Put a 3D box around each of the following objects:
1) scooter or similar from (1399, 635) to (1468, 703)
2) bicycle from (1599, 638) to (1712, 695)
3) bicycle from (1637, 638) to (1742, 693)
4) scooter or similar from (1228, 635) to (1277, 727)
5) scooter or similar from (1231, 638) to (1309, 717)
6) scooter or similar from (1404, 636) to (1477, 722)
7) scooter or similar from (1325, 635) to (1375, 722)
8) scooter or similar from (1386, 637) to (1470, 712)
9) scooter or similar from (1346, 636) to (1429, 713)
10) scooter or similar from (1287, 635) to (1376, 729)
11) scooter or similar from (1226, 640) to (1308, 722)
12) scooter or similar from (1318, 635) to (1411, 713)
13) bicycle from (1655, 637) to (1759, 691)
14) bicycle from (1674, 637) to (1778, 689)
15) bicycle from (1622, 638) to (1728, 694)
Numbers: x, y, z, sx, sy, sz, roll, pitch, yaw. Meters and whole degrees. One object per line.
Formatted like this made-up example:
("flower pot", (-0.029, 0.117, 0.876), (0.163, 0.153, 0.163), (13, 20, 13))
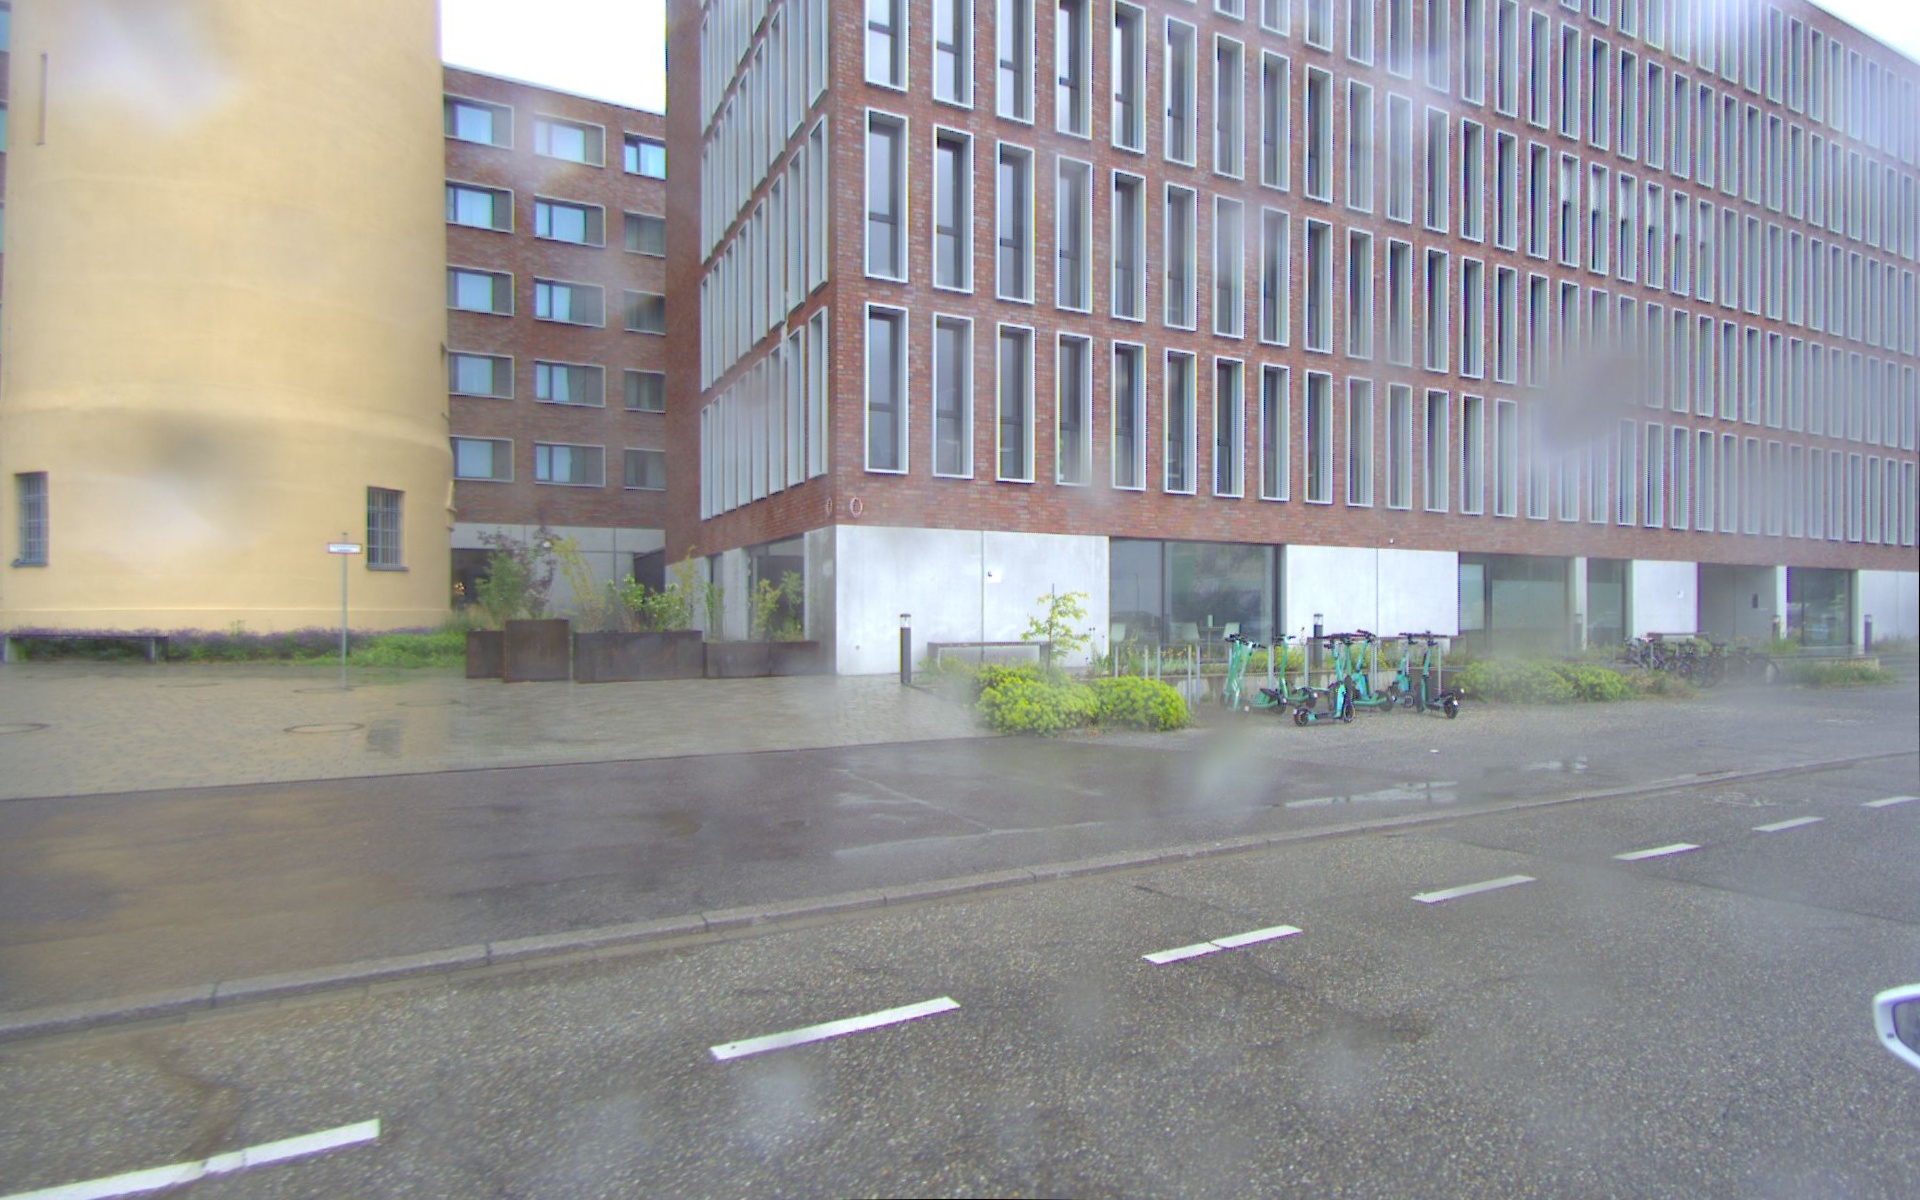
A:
("scooter or similar", (8.889, 1.280, 18.892), (0.411, 1.224, 1.224), (0, -2, -22))
("bicycle", (15.108, 1.426, 21.872), (0.613, 1.092, 1.939), (1, 0, -30))
("bicycle", (16.413, 1.446, 22.654), (0.538, 1.092, 1.850), (1, 0, -30))
("scooter or similar", (4.154, 1.126, 14.327), (0.498, 1.246, 1.322), (0, -2, 9))
("scooter or similar", (4.937, 1.217, 16.062), (0.461, 1.193, 1.313), (0, -2, -23))
("scooter or similar", (7.269, 1.168, 15.242), (0.458, 1.246, 1.321), (0, -2, 0))
("scooter or similar", (5.893, 1.152, 15.132), (0.459, 1.246, 1.318), (-1, -2, 32))
("scooter or similar", (7.827, 1.235, 16.835), (1.183, 1.224, 0.468), (-1, -1, 13))
("scooter or similar", (7.064, 1.218, 16.625), (1.183, 1.246, 0.468), (-1, -1, 13))
("scooter or similar", (5.176, 1.117, 13.982), (1.306, 1.246, 0.463), (1, -2, -33))
("scooter or similar", (4.684, 1.209, 15.399), (0.461, 1.193, 1.313), (0, -2, -23))
("scooter or similar", (6.446, 1.156, 16.029), (0.464, 1.193, 1.305), (1, -2, -41))
("bicycle", (17.122, 1.447, 23.068), (0.538, 1.092, 1.850), (1, 0, -30))
("bicycle", (17.859, 1.447, 23.456), (0.538, 1.092, 1.850), (1, 0, -30))
("bicycle", (15.859, 1.442, 22.328), (0.538, 1.092, 1.850), (1, 0, -30))
